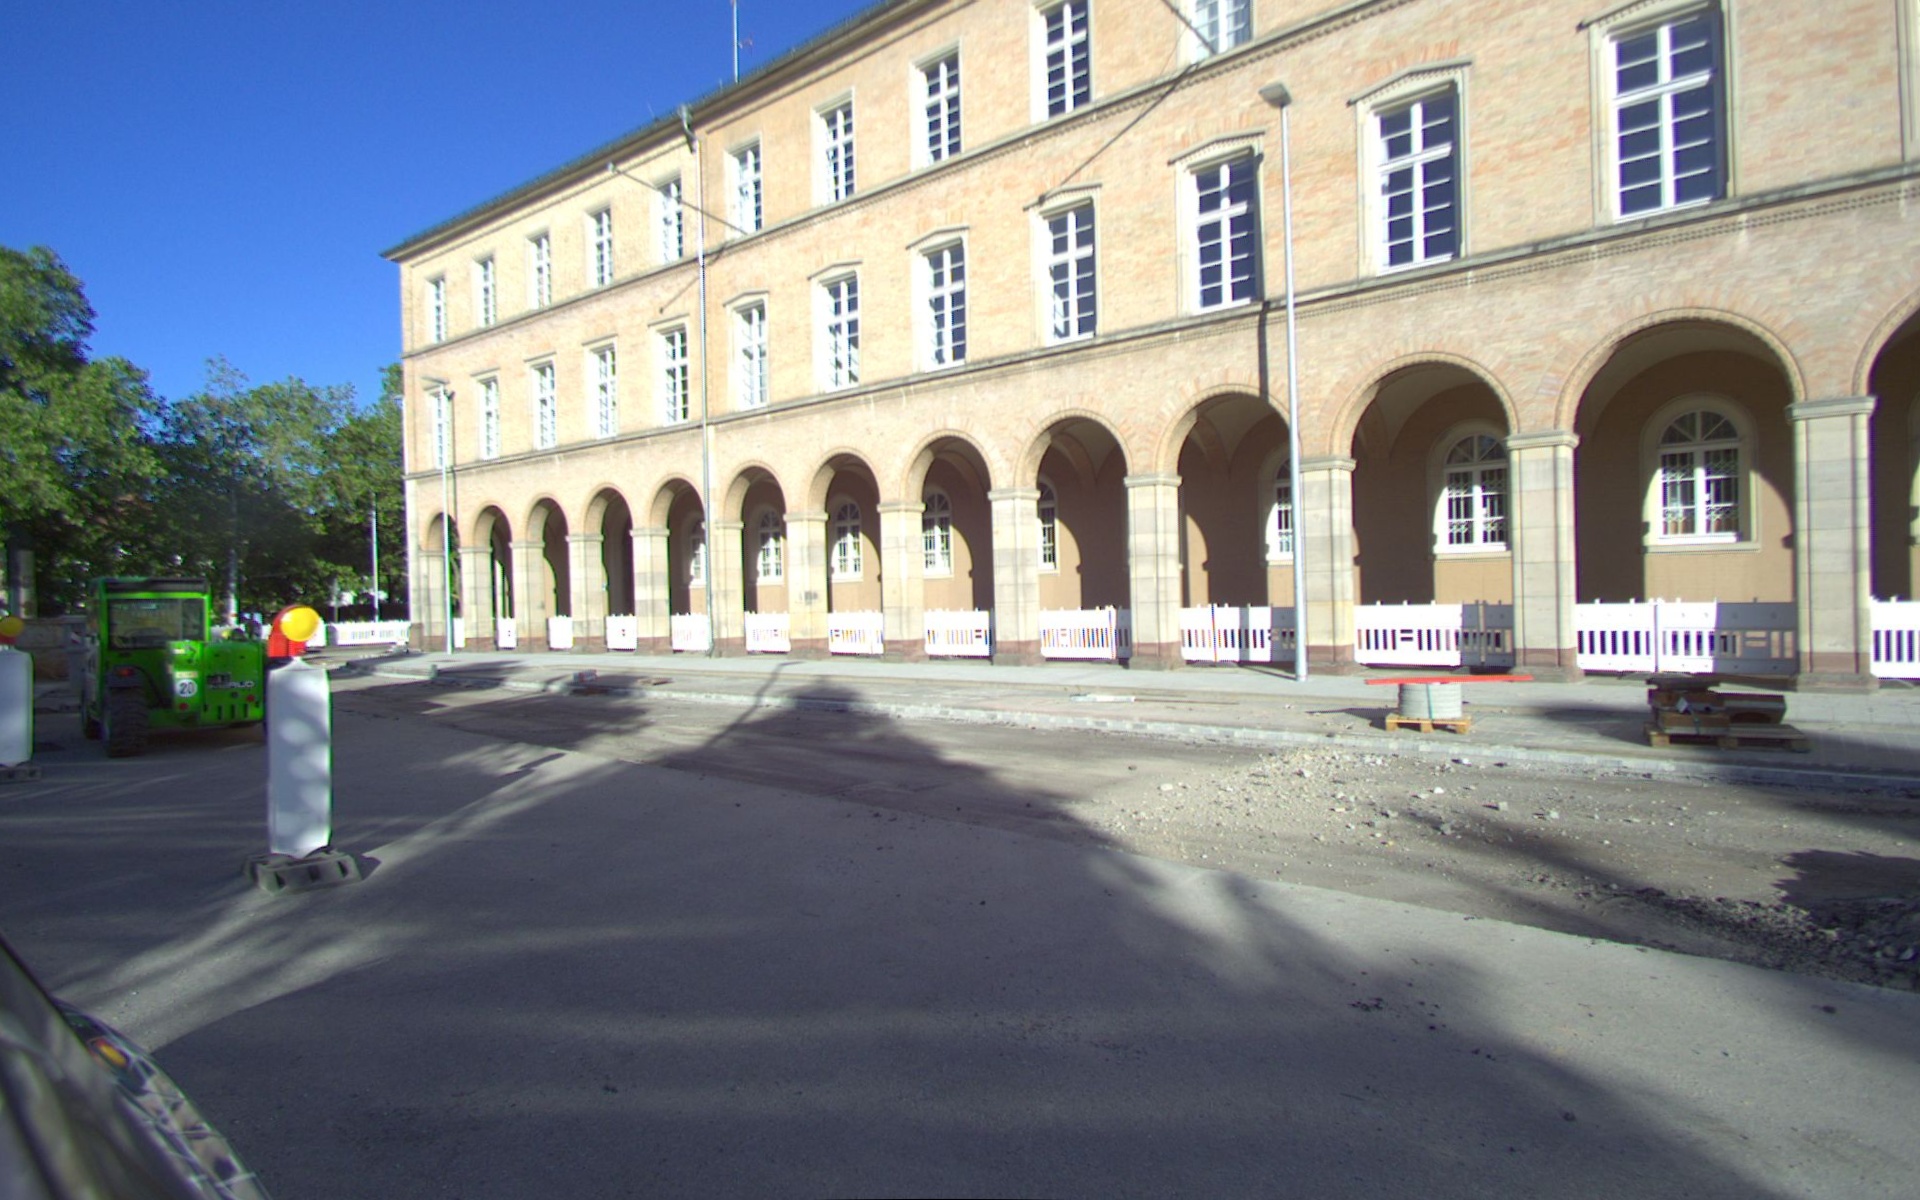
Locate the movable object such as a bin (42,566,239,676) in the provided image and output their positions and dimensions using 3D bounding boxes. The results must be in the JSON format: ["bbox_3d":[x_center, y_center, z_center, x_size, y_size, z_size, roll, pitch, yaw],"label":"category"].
[{"bbox_3d":[-25.246,0.582,31.563,2.524,3.054,5.948,-1,0,-15],"label":"movable object such as a bin"}]

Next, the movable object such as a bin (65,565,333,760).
[{"bbox_3d":[-9.481,0.695,12.456,2.027,1.964,4.336,-2,-1,-45],"label":"movable object such as a bin"}]
